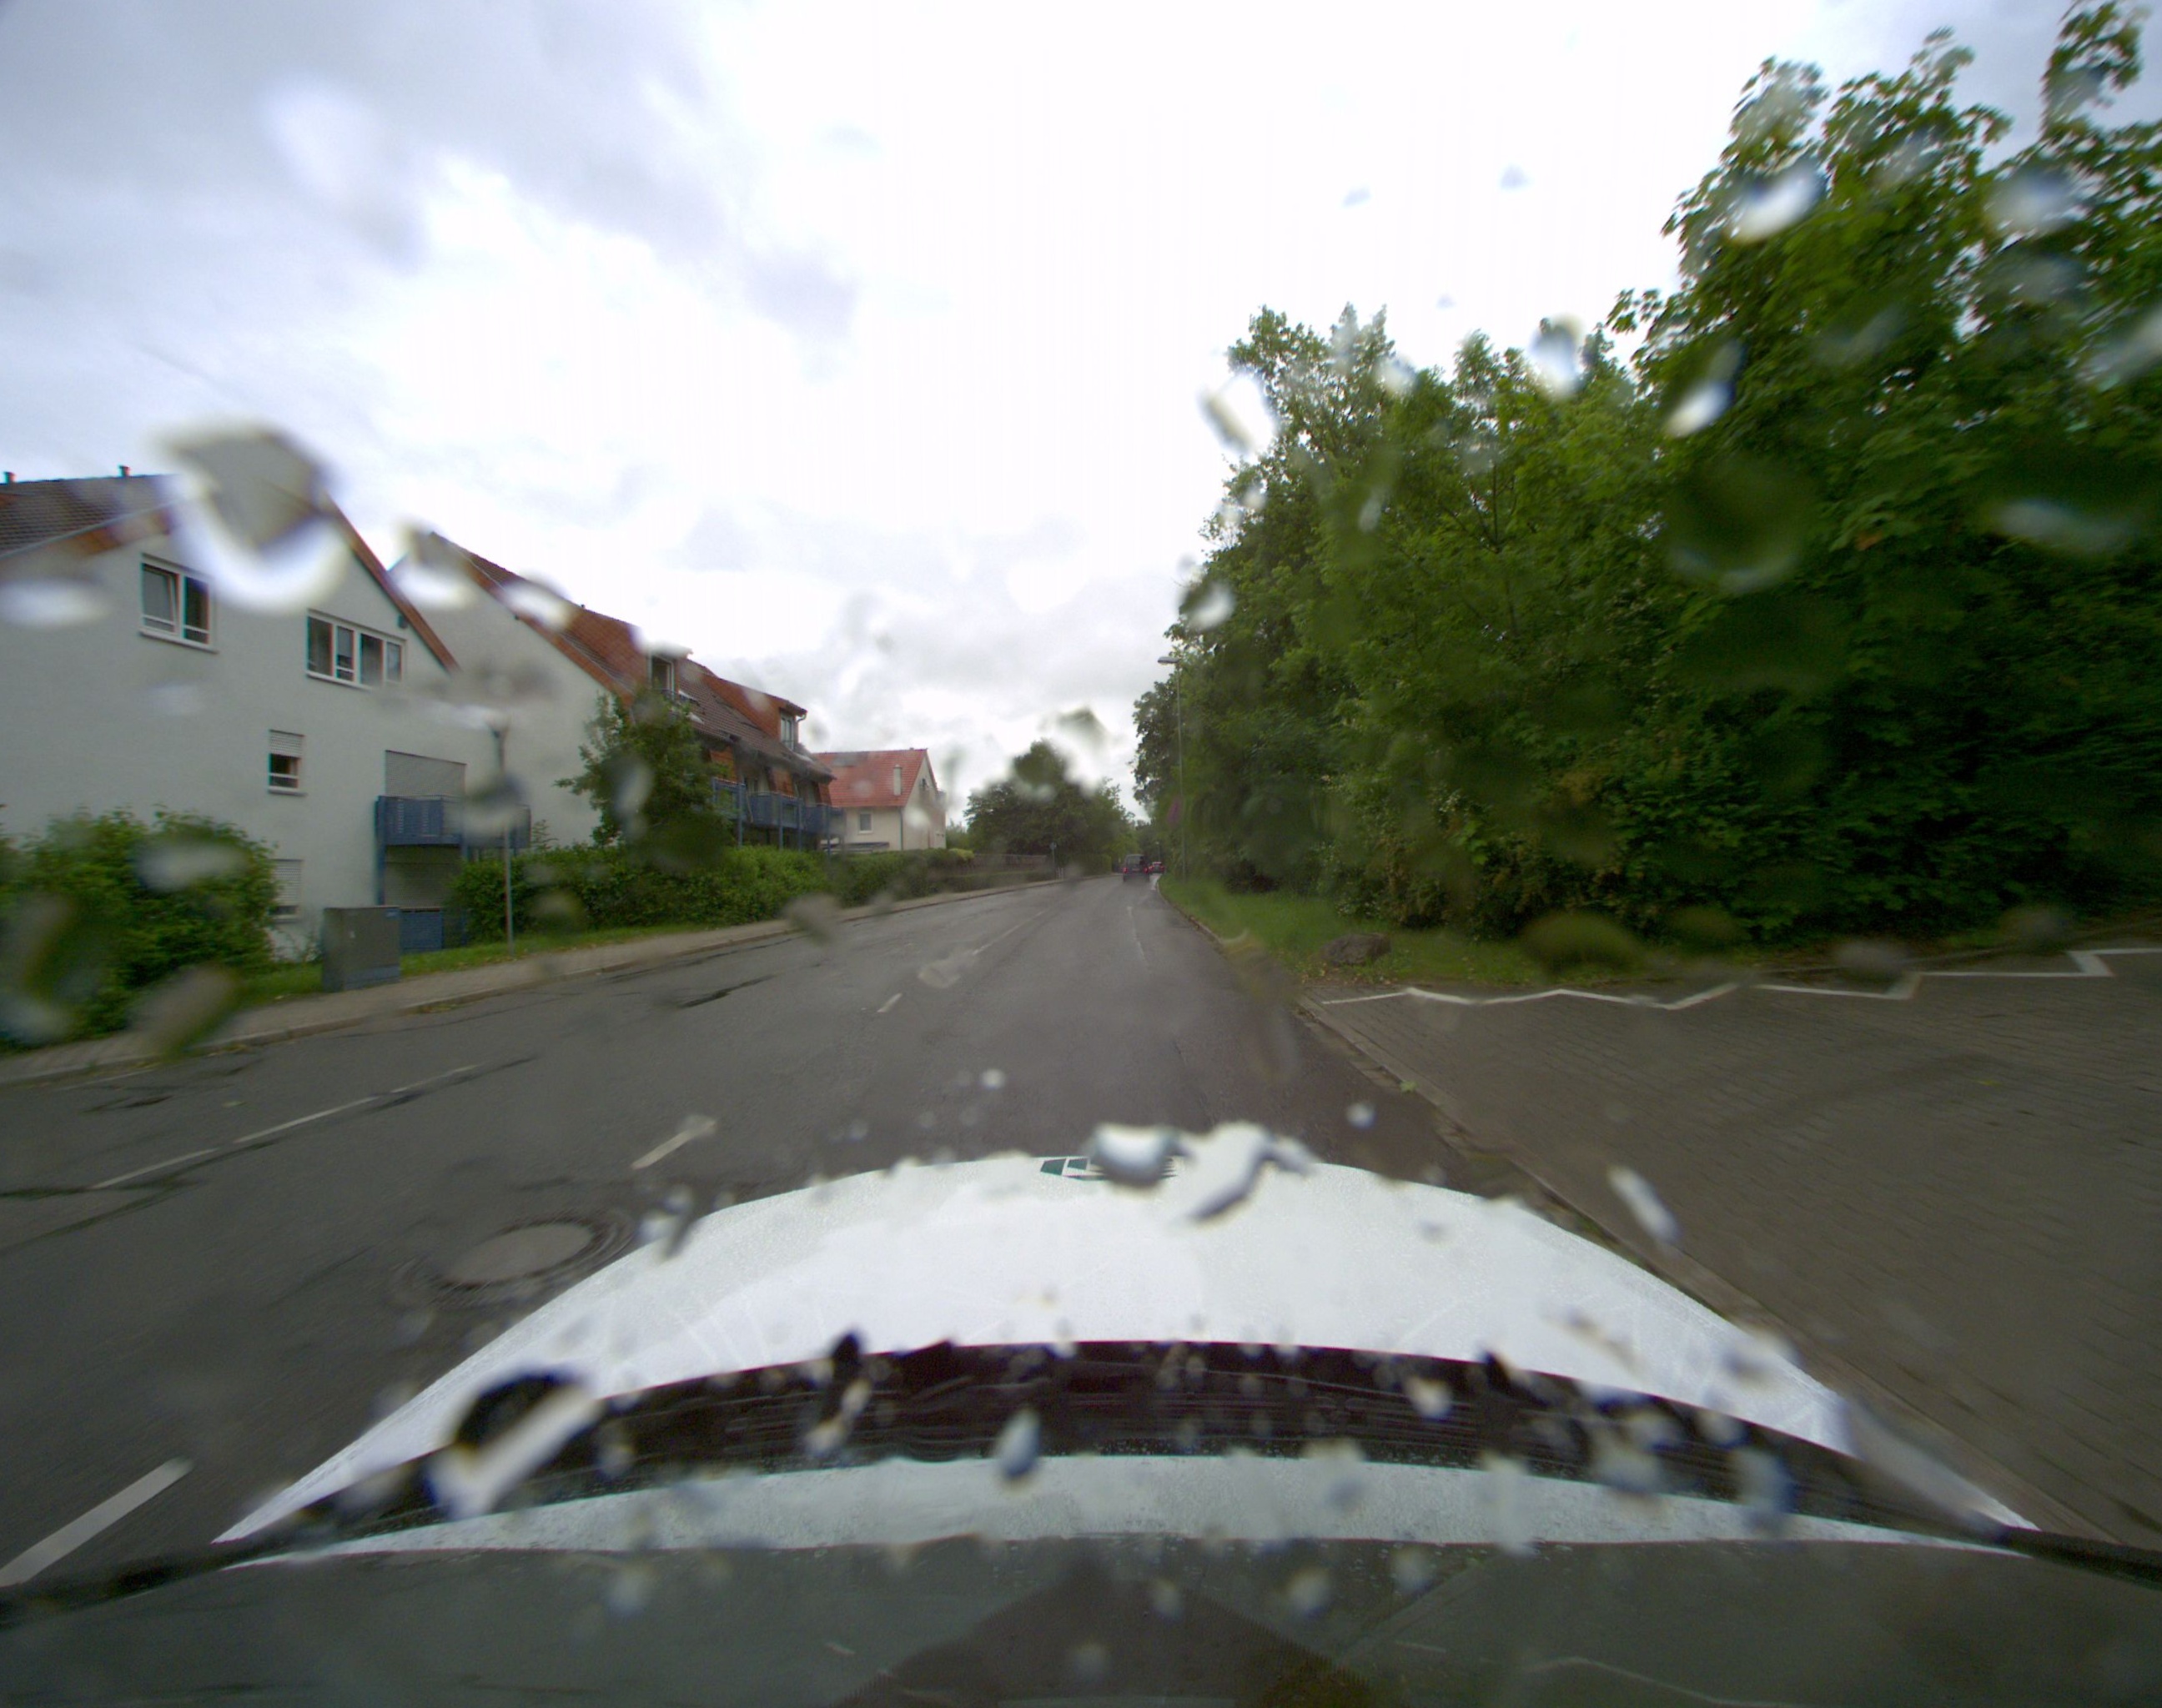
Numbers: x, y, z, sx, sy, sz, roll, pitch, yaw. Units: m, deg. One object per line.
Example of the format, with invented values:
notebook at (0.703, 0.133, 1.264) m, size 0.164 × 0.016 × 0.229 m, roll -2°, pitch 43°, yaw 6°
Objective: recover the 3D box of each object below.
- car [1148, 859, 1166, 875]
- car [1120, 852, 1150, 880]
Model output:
car at (9.203, 1.553, 97.807) m, size 1.939 × 1.750 × 4.009 m, roll -2°, pitch 0°, yaw 7°
car at (3.725, 0.800, 56.120) m, size 1.985 × 1.793 × 4.004 m, roll 1°, pitch 1°, yaw 4°
